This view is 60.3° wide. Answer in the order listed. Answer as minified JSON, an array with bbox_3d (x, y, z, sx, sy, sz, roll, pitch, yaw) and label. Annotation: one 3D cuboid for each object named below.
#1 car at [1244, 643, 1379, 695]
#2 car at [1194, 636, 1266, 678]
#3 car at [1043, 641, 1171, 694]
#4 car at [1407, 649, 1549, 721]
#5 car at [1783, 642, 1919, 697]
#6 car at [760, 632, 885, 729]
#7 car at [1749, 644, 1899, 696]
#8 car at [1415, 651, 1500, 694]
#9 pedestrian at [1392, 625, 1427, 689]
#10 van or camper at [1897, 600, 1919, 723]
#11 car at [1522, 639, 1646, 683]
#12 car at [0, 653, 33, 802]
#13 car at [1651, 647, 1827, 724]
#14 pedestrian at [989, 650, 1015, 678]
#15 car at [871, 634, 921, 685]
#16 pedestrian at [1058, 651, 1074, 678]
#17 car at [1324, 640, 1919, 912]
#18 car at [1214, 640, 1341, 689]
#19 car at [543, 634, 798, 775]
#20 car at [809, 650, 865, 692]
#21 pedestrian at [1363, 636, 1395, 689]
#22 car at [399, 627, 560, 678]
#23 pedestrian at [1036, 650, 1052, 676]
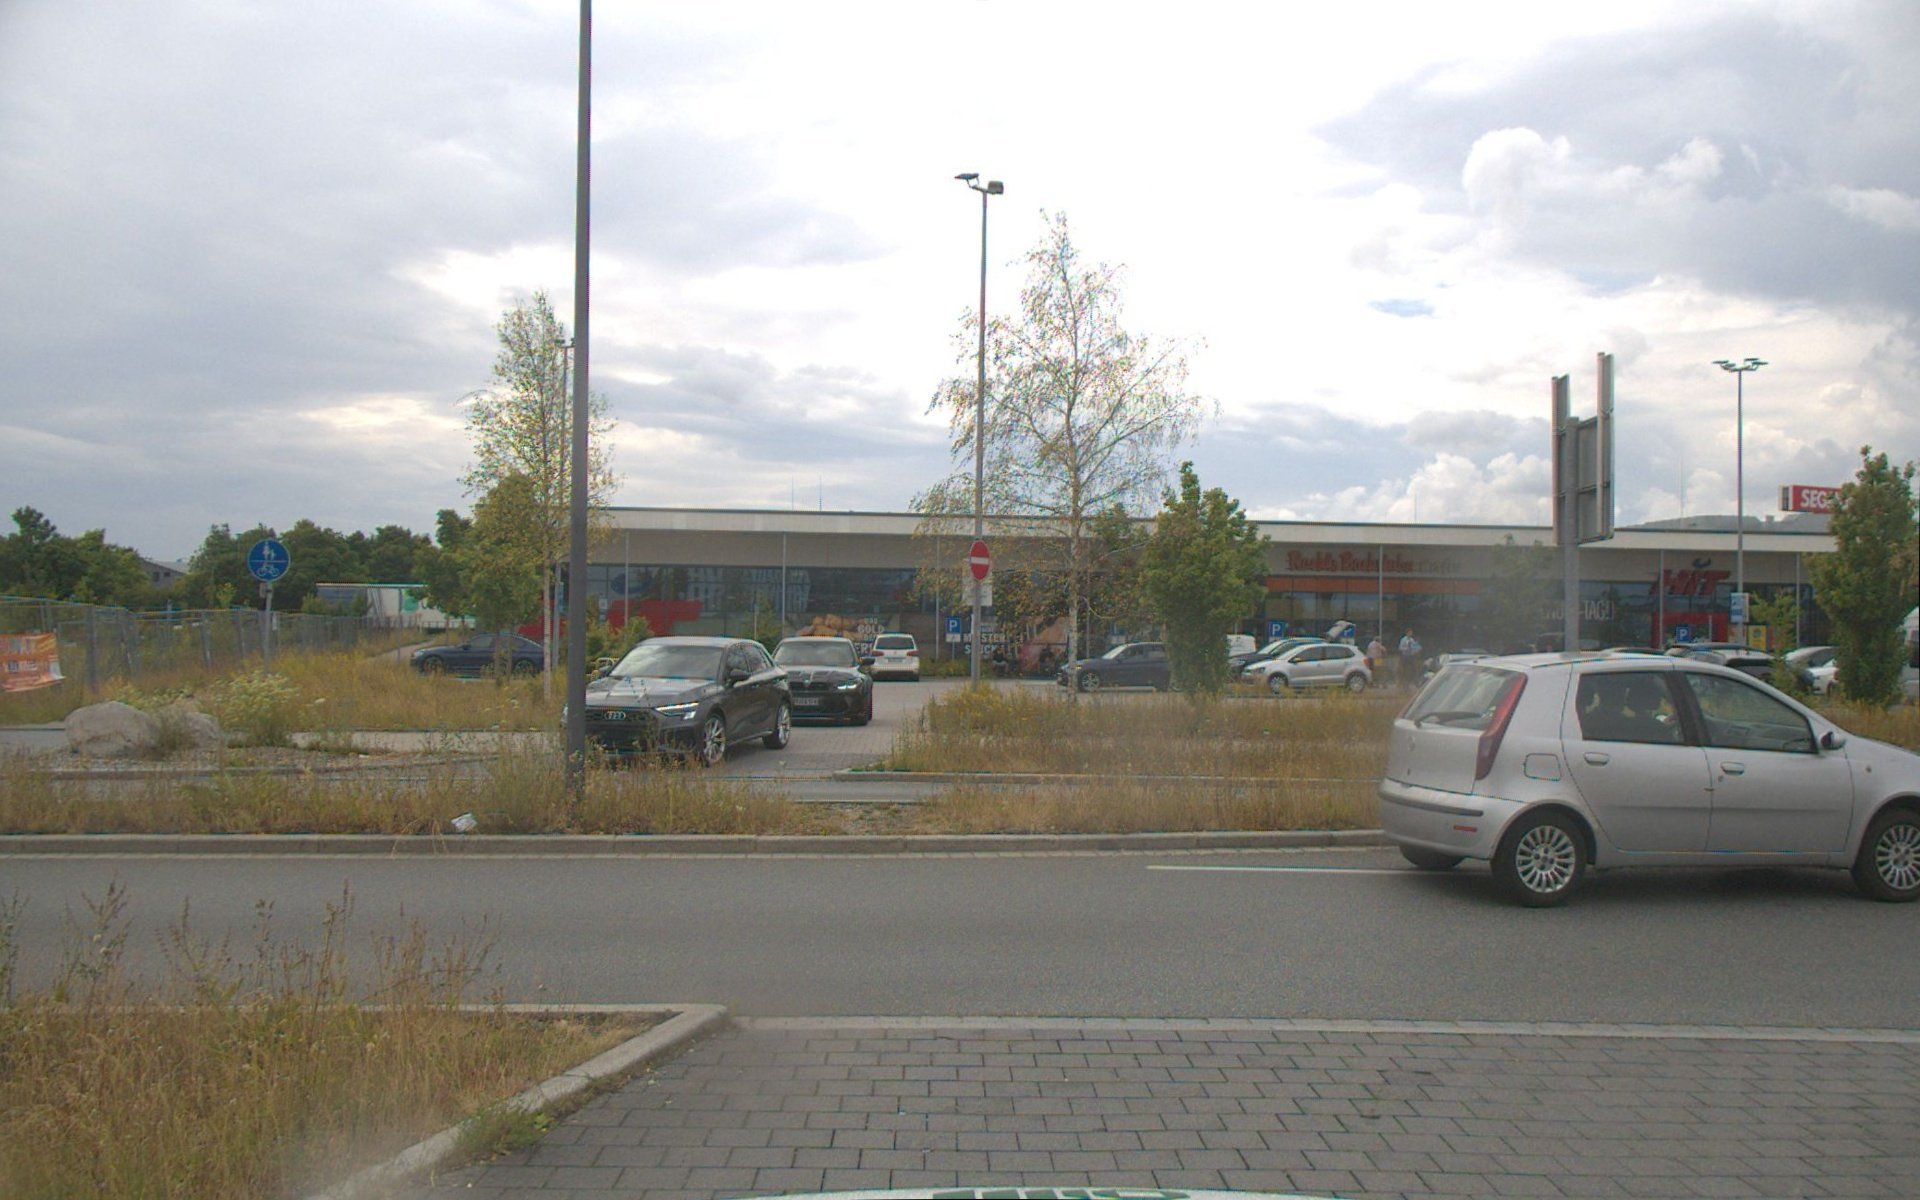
[{"bbox_3d":[10.526,2.072,49.675,3.673,1.480,1.666,1,-1,-4],"label":"car"},{"bbox_3d":[10.253,2.142,63.085,1.953,1.534,3.998,1,-1,-2],"label":"car"},{"bbox_3d":[4.324,1.999,49.015,3.536,1.480,1.666,1,-1,-5],"label":"car"},{"bbox_3d":[10.905,1.761,35.100,1.947,1.409,4.151,1,-2,4],"label":"car"},{"bbox_3d":[28.226,2.164,51.796,3.903,1.646,2.001,0,-1,4],"label":"car"},{"bbox_3d":[-2.227,1.310,27.902,1.743,1.471,4.608,1,-2,-1],"label":"car"},{"bbox_3d":[28.387,2.283,54.448,3.903,1.646,2.001,0,-1,4],"label":"car"},{"bbox_3d":[19.123,2.755,63.777,1.953,1.534,3.998,1,-1,-2],"label":"car"},{"bbox_3d":[14.525,1.831,53.464,0.847,2.049,1.003,1,-1,1],"label":"pedestrian"},{"bbox_3d":[20.806,1.262,33.179,2.234,2.536,4.003,1,-2,9],"label":"van or camper"},{"bbox_3d":[23.413,2.278,62.113,3.907,1.534,1.999,1,-1,-3],"label":"car"},{"bbox_3d":[-11.249,1.176,15.267,4.271,1.420,1.789,1,-2,-5],"label":"car"},{"bbox_3d":[16.142,1.742,34.502,1.947,1.476,4.151,1,-2,4],"label":"car"},{"bbox_3d":[1.809,2.768,71.426,0.952,1.175,1.131,1,-1,-6],"label":"pedestrian"},{"bbox_3d":[-2.363,2.197,61.717,1.787,1.730,4.232,1,0,-2],"label":"car"},{"bbox_3d":[4.482,2.735,70.196,0.565,1.144,0.561,1,-1,-8],"label":"pedestrian"},{"bbox_3d":[4.471,1.052,10.707,3.736,1.486,1.796,1,1,-11],"label":"car"},{"bbox_3d":[10.101,2.053,52.797,3.673,1.480,1.666,1,-1,-4],"label":"car"},{"bbox_3d":[-3.384,1.179,20.204,1.753,1.492,4.324,1,-1,9],"label":"car"},{"bbox_3d":[-4.532,2.611,61.531,1.868,1.469,3.998,1,-1,-2],"label":"car"},{"bbox_3d":[13.350,1.994,52.697,0.804,1.660,0.899,1,-2,1],"label":"pedestrian"},{"bbox_3d":[-16.022,1.767,55.393,4.914,1.585,1.996,1,-2,-9],"label":"car"},{"bbox_3d":[3.610,2.705,71.083,0.565,1.144,0.561,1,-1,-8],"label":"pedestrian"}]
